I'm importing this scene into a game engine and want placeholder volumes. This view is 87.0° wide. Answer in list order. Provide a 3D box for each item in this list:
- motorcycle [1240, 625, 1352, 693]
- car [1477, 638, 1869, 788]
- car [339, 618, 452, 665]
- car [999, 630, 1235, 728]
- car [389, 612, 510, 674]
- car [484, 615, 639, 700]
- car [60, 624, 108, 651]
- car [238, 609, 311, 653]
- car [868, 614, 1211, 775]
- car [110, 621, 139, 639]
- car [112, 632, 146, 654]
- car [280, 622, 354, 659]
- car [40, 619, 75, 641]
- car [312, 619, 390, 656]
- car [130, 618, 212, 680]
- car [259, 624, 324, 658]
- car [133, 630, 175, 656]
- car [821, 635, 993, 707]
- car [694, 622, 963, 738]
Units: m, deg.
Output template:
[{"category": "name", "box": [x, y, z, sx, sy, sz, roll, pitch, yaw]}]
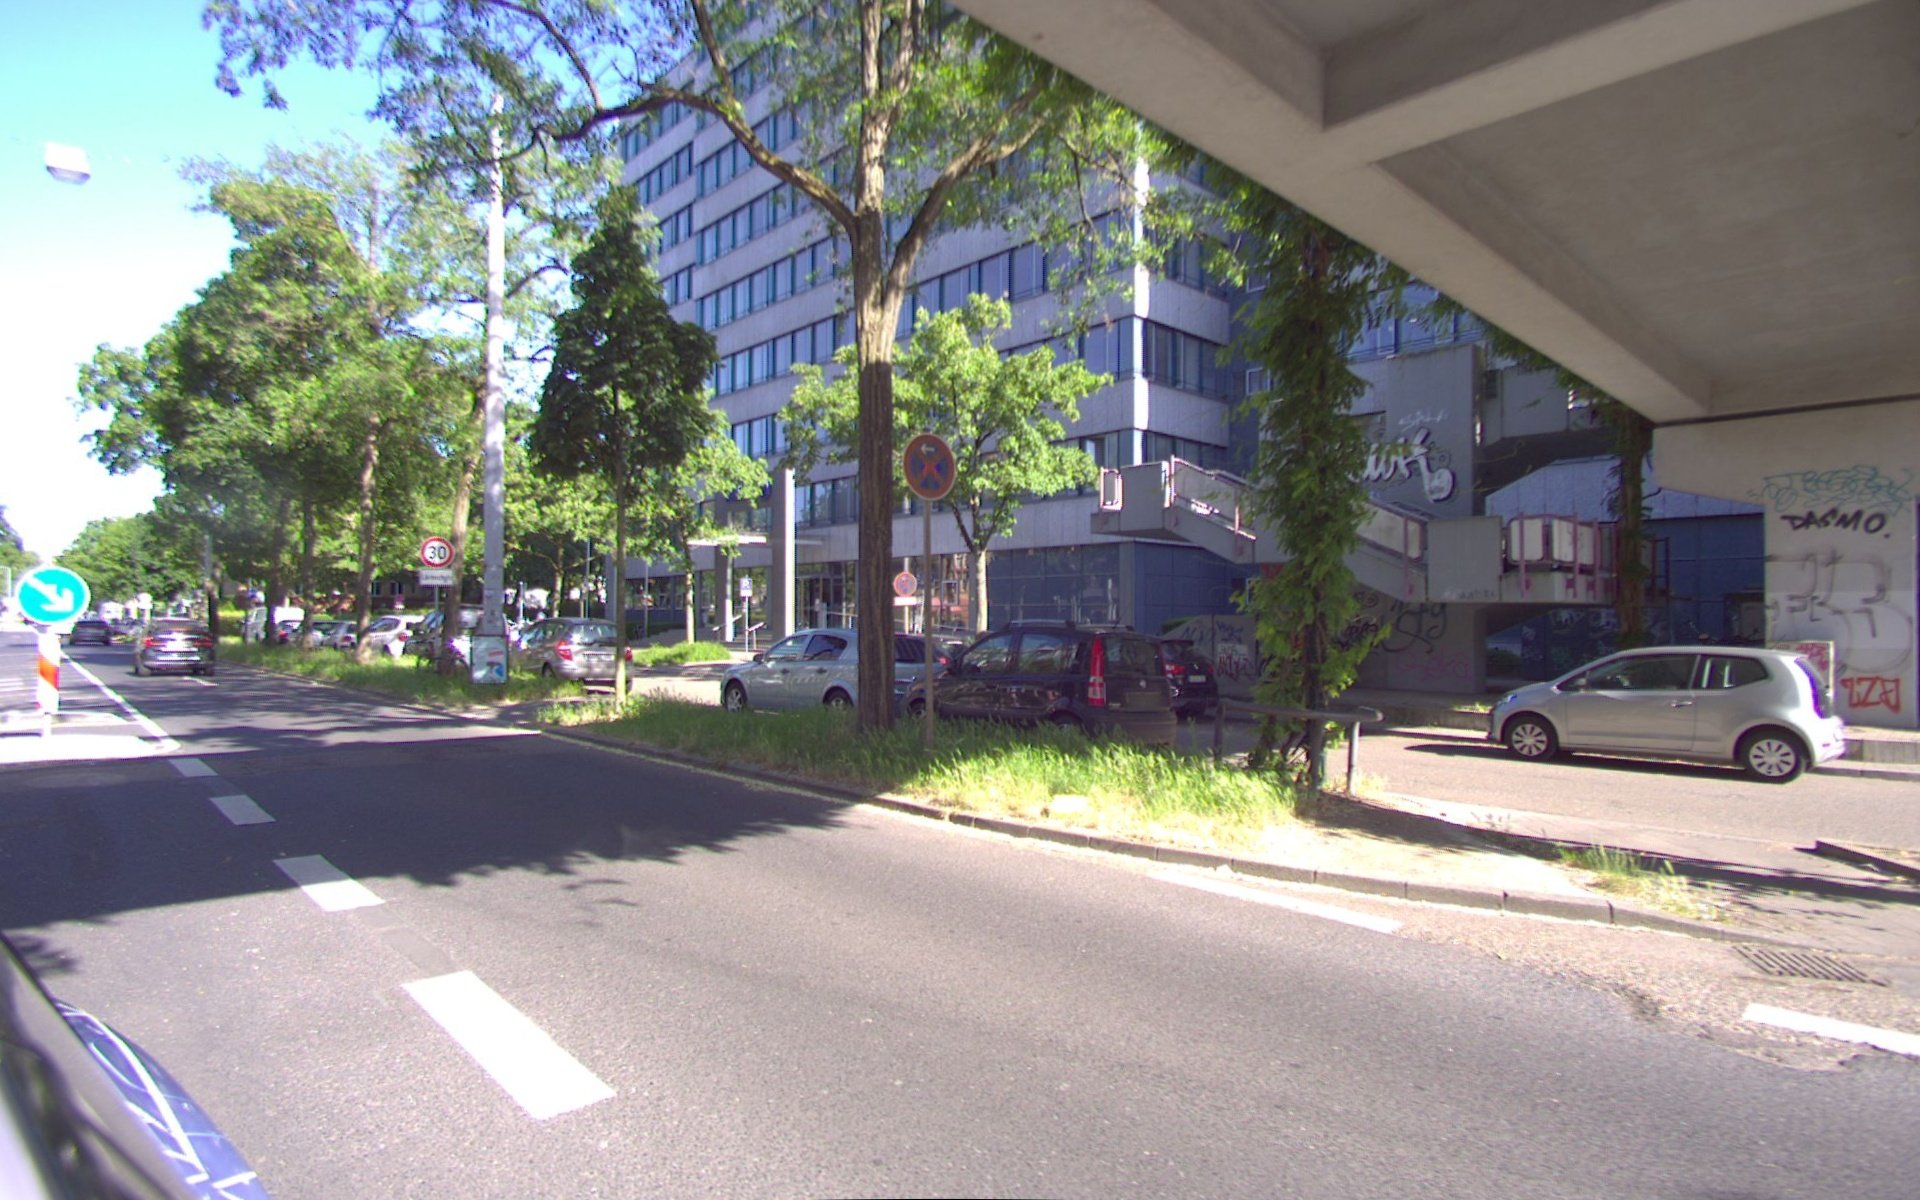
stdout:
[{"category": "motorcycle", "box": [6.771, 1.162, 20.480, 0.721, 1.280, 2.055, 2, -2, -44]}, {"category": "car", "box": [8.498, 1.230, 12.278, 1.587, 1.497, 3.651, 2, -2, -44]}, {"category": "car", "box": [-18.013, 1.275, 32.229, 4.490, 1.394, 1.698, -1, -2, 41]}, {"category": "car", "box": [2.732, 1.334, 18.248, 1.712, 1.542, 4.004, 2, -2, -43]}, {"category": "car", "box": [-13.968, 1.120, 27.566, 1.709, 1.561, 4.452, 1, -2, -44]}, {"category": "car", "box": [-8.720, 1.185, 21.991, 1.751, 1.659, 4.087, 2, -2, -43]}, {"category": "car", "box": [-48.393, 2.039, 55.867, 1.766, 1.433, 4.192, 3, -3, -43]}, {"category": "car", "box": [-32.051, 1.428, 47.298, 2.041, 1.923, 4.529, 1, -2, -44]}, {"category": "car", "box": [0.799, 0.989, 11.766, 1.719, 1.550, 3.783, 5, -4, -43]}, {"category": "car", "box": [-67.194, 2.374, 81.409, 1.582, 1.425, 4.004, 1, -2, -42]}, {"category": "car", "box": [-56.824, 2.893, 69.194, 1.582, 1.425, 4.004, 1, -2, -42]}, {"category": "car", "box": [-25.109, 1.543, 39.491, 1.633, 1.354, 3.972, 1, -2, -44]}, {"category": "car", "box": [-67.814, 2.224, 76.009, 1.766, 1.596, 4.192, 1, -2, -44]}, {"category": "car", "box": [-21.413, 1.283, 35.533, 1.631, 1.236, 3.851, 1, -2, -42]}, {"category": "car", "box": [-20.841, 1.257, 26.702, 1.449, 1.539, 2.820, 2, -2, -42]}, {"category": "car", "box": [-28.682, 1.721, 43.379, 1.655, 1.343, 4.193, 1, -2, -43]}, {"category": "car", "box": [-48.684, 2.550, 61.097, 1.715, 1.501, 4.004, 1, -2, -42]}, {"category": "car", "box": [-1.235, 1.501, 22.414, 3.802, 1.414, 1.662, -1, -2, 44]}, {"category": "car", "box": [-2.066, 1.108, 14.950, 1.633, 1.459, 4.285, 6, -5, -44]}]
